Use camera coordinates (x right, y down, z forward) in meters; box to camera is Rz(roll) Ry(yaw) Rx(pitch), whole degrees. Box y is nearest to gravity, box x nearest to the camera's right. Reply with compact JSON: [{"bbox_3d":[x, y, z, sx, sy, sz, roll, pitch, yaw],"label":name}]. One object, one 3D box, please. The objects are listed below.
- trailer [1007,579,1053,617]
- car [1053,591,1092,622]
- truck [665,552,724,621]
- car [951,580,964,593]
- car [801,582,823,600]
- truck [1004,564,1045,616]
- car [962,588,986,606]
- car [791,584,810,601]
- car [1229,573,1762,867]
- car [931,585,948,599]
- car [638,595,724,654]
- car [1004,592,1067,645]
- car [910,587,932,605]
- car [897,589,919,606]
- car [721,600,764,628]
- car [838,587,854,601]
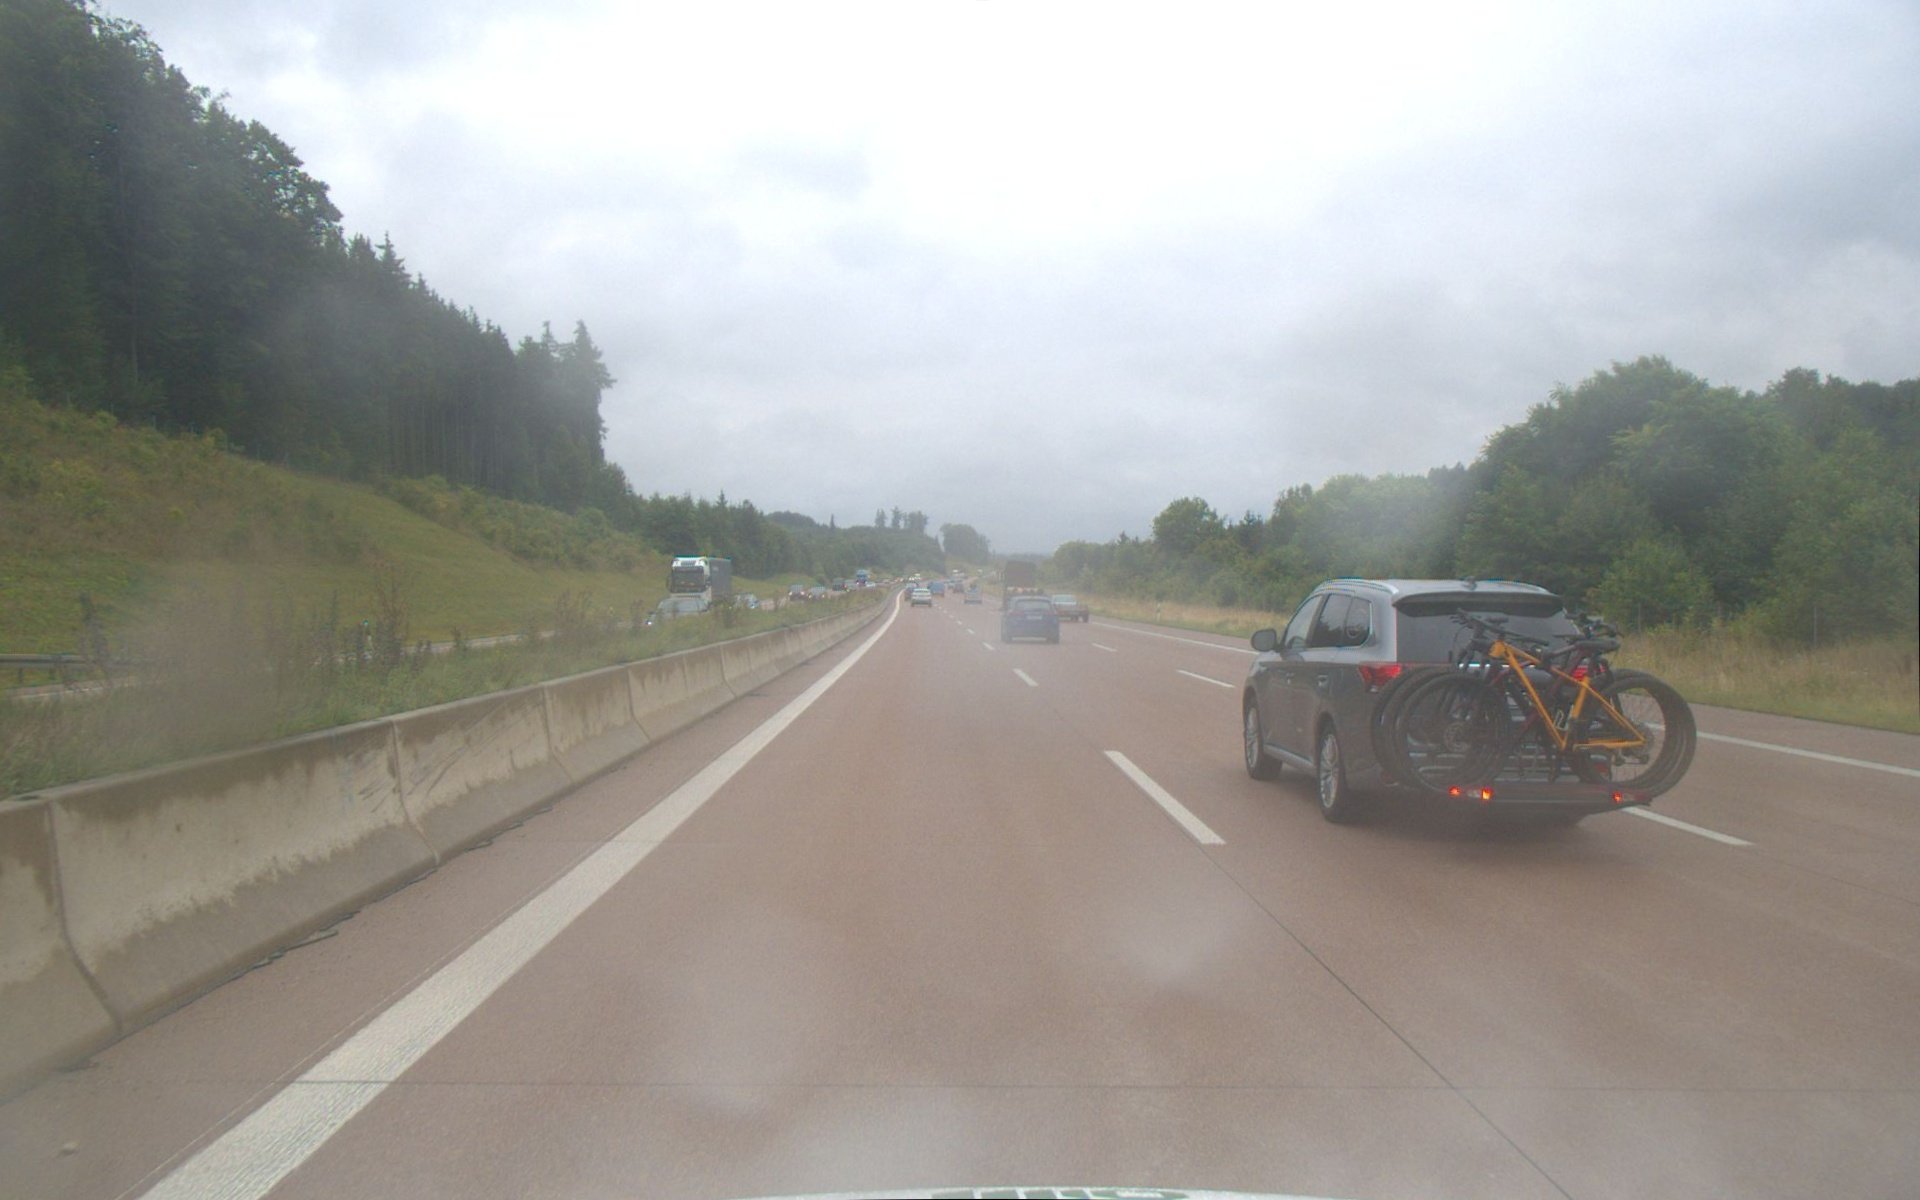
[{"bbox_3d":[5.268,-0.099,126.196,2.822,2.722,11.396,1,0,-1],"label":"trailer"},{"bbox_3d":[6.129,0.325,90.531,1.663,1.640,4.975,0,0,-2],"label":"car"},{"bbox_3d":[-17.897,-0.867,111.783,2.865,4.467,7.401,1,0,-2],"label":"truck"},{"bbox_3d":[-0.356,-2.161,262.033,1.953,2.049,3.999,1,0,-1],"label":"car"},{"bbox_3d":[-15.667,-0.965,175.331,1.953,1.798,5.094,0,1,-1],"label":"car"},{"bbox_3d":[5.165,-0.754,133.438,2.838,4.034,6.987,1,0,-1],"label":"truck"},{"bbox_3d":[1.416,-0.247,169.982,2.275,1.780,4.876,1,0,-1],"label":"car"},{"bbox_3d":[-20.224,-0.927,209.786,1.953,2.049,5.671,1,0,-2],"label":"car"},{"bbox_3d":[3.483,0.687,12.180,1.953,1.620,5.819,1,0,-1],"label":"car"},{"bbox_3d":[-2.783,-1.113,221.998,2.275,1.780,4.876,1,0,-1],"label":"car"},{"bbox_3d":[-9.099,0.783,54.426,2.007,1.807,5.323,1,0,-1],"label":"car"},{"bbox_3d":[2.394,0.581,53.339,1.735,1.591,4.145,1,0,-1],"label":"car"},{"bbox_3d":[-3.372,-0.310,143.877,1.836,1.469,4.876,1,0,-1],"label":"car"},{"bbox_3d":[-5.702,-0.304,181.764,2.275,1.780,4.876,1,0,-1],"label":"car"},{"bbox_3d":[-13.954,0.899,106.416,2.007,1.722,6.382,1,0,-1],"label":"car"},{"bbox_3d":[-16.029,-0.820,232.460,1.852,1.811,4.937,1,0,-1],"label":"car"}]
